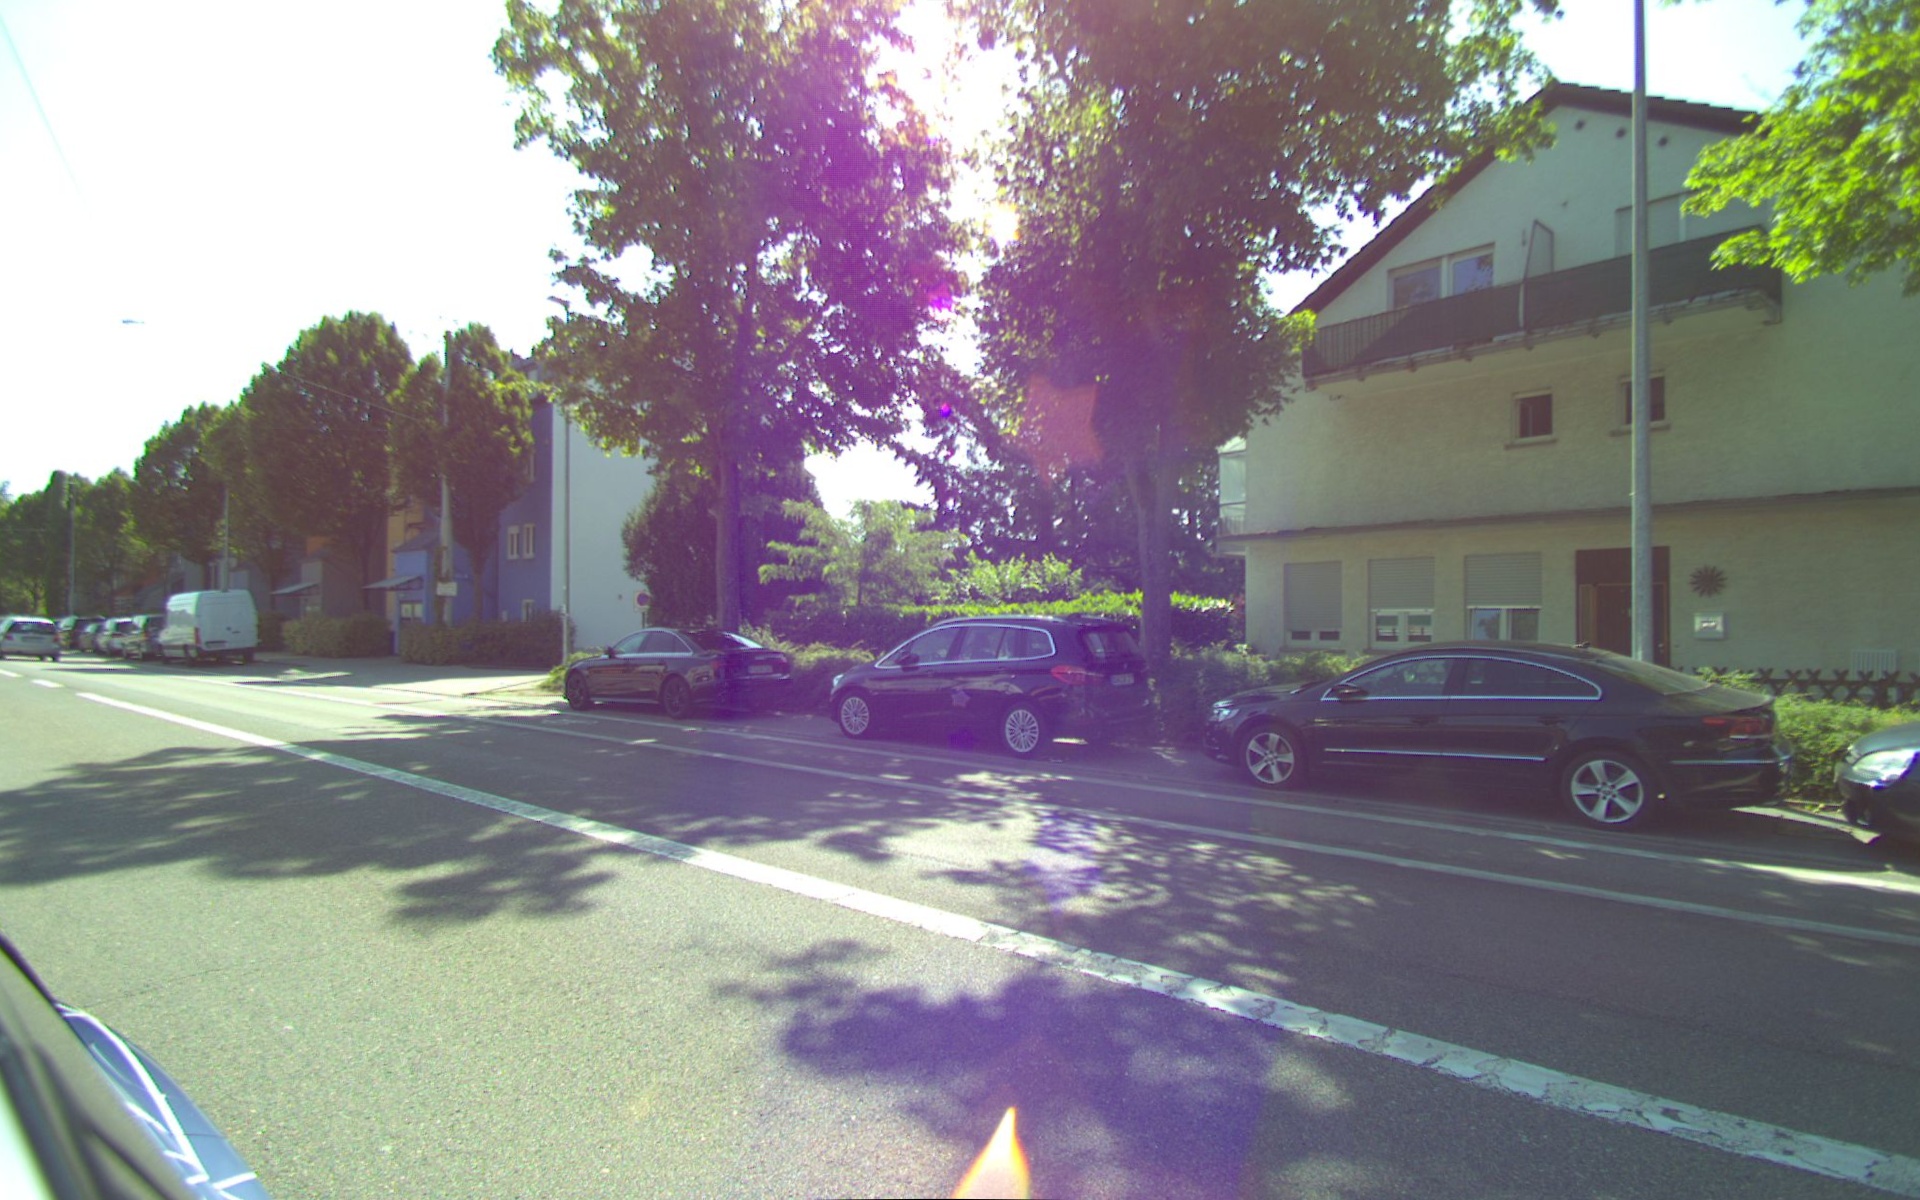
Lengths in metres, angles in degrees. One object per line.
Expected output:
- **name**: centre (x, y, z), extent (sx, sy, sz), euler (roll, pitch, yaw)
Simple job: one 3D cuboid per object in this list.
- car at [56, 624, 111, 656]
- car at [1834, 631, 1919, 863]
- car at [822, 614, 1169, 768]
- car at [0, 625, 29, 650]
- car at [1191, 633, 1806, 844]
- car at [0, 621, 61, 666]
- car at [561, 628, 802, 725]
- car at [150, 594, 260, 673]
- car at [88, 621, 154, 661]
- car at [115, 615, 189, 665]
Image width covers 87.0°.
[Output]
- **car**: centre (-46.223, 2.077, 53.340), extent (3.765, 1.513, 1.657), euler (-1, 1, 41)
- **car**: centre (7.823, 0.923, 5.892), extent (4.082, 1.462, 1.598), euler (-1, -3, 43)
- **car**: centre (0.330, 1.023, 12.707), extent (4.238, 1.625, 1.658), euler (-1, -3, 39)
- **car**: centre (-61.002, 2.391, 64.587), extent (3.760, 1.513, 1.659), euler (-1, 1, 38)
- **car**: centre (4.519, 1.014, 9.035), extent (4.580, 1.406, 1.678), euler (-1, -3, 43)
- **car**: centre (-35.108, 1.593, 37.915), extent (4.001, 1.608, 1.822), euler (-1, -3, 44)
- **car**: centre (-4.785, 1.198, 17.095), extent (4.453, 1.447, 1.658), euler (-1, -3, 39)
- **car**: centre (-28.062, 1.199, 37.545), extent (6.083, 2.671, 1.991), euler (-1, 1, 41)
- **car**: centre (-38.673, 1.852, 46.604), extent (4.146, 1.681, 1.657), euler (-1, 1, 41)
- **car**: centre (-34.348, 1.656, 42.987), extent (4.456, 1.951, 1.657), euler (-1, 1, 41)
